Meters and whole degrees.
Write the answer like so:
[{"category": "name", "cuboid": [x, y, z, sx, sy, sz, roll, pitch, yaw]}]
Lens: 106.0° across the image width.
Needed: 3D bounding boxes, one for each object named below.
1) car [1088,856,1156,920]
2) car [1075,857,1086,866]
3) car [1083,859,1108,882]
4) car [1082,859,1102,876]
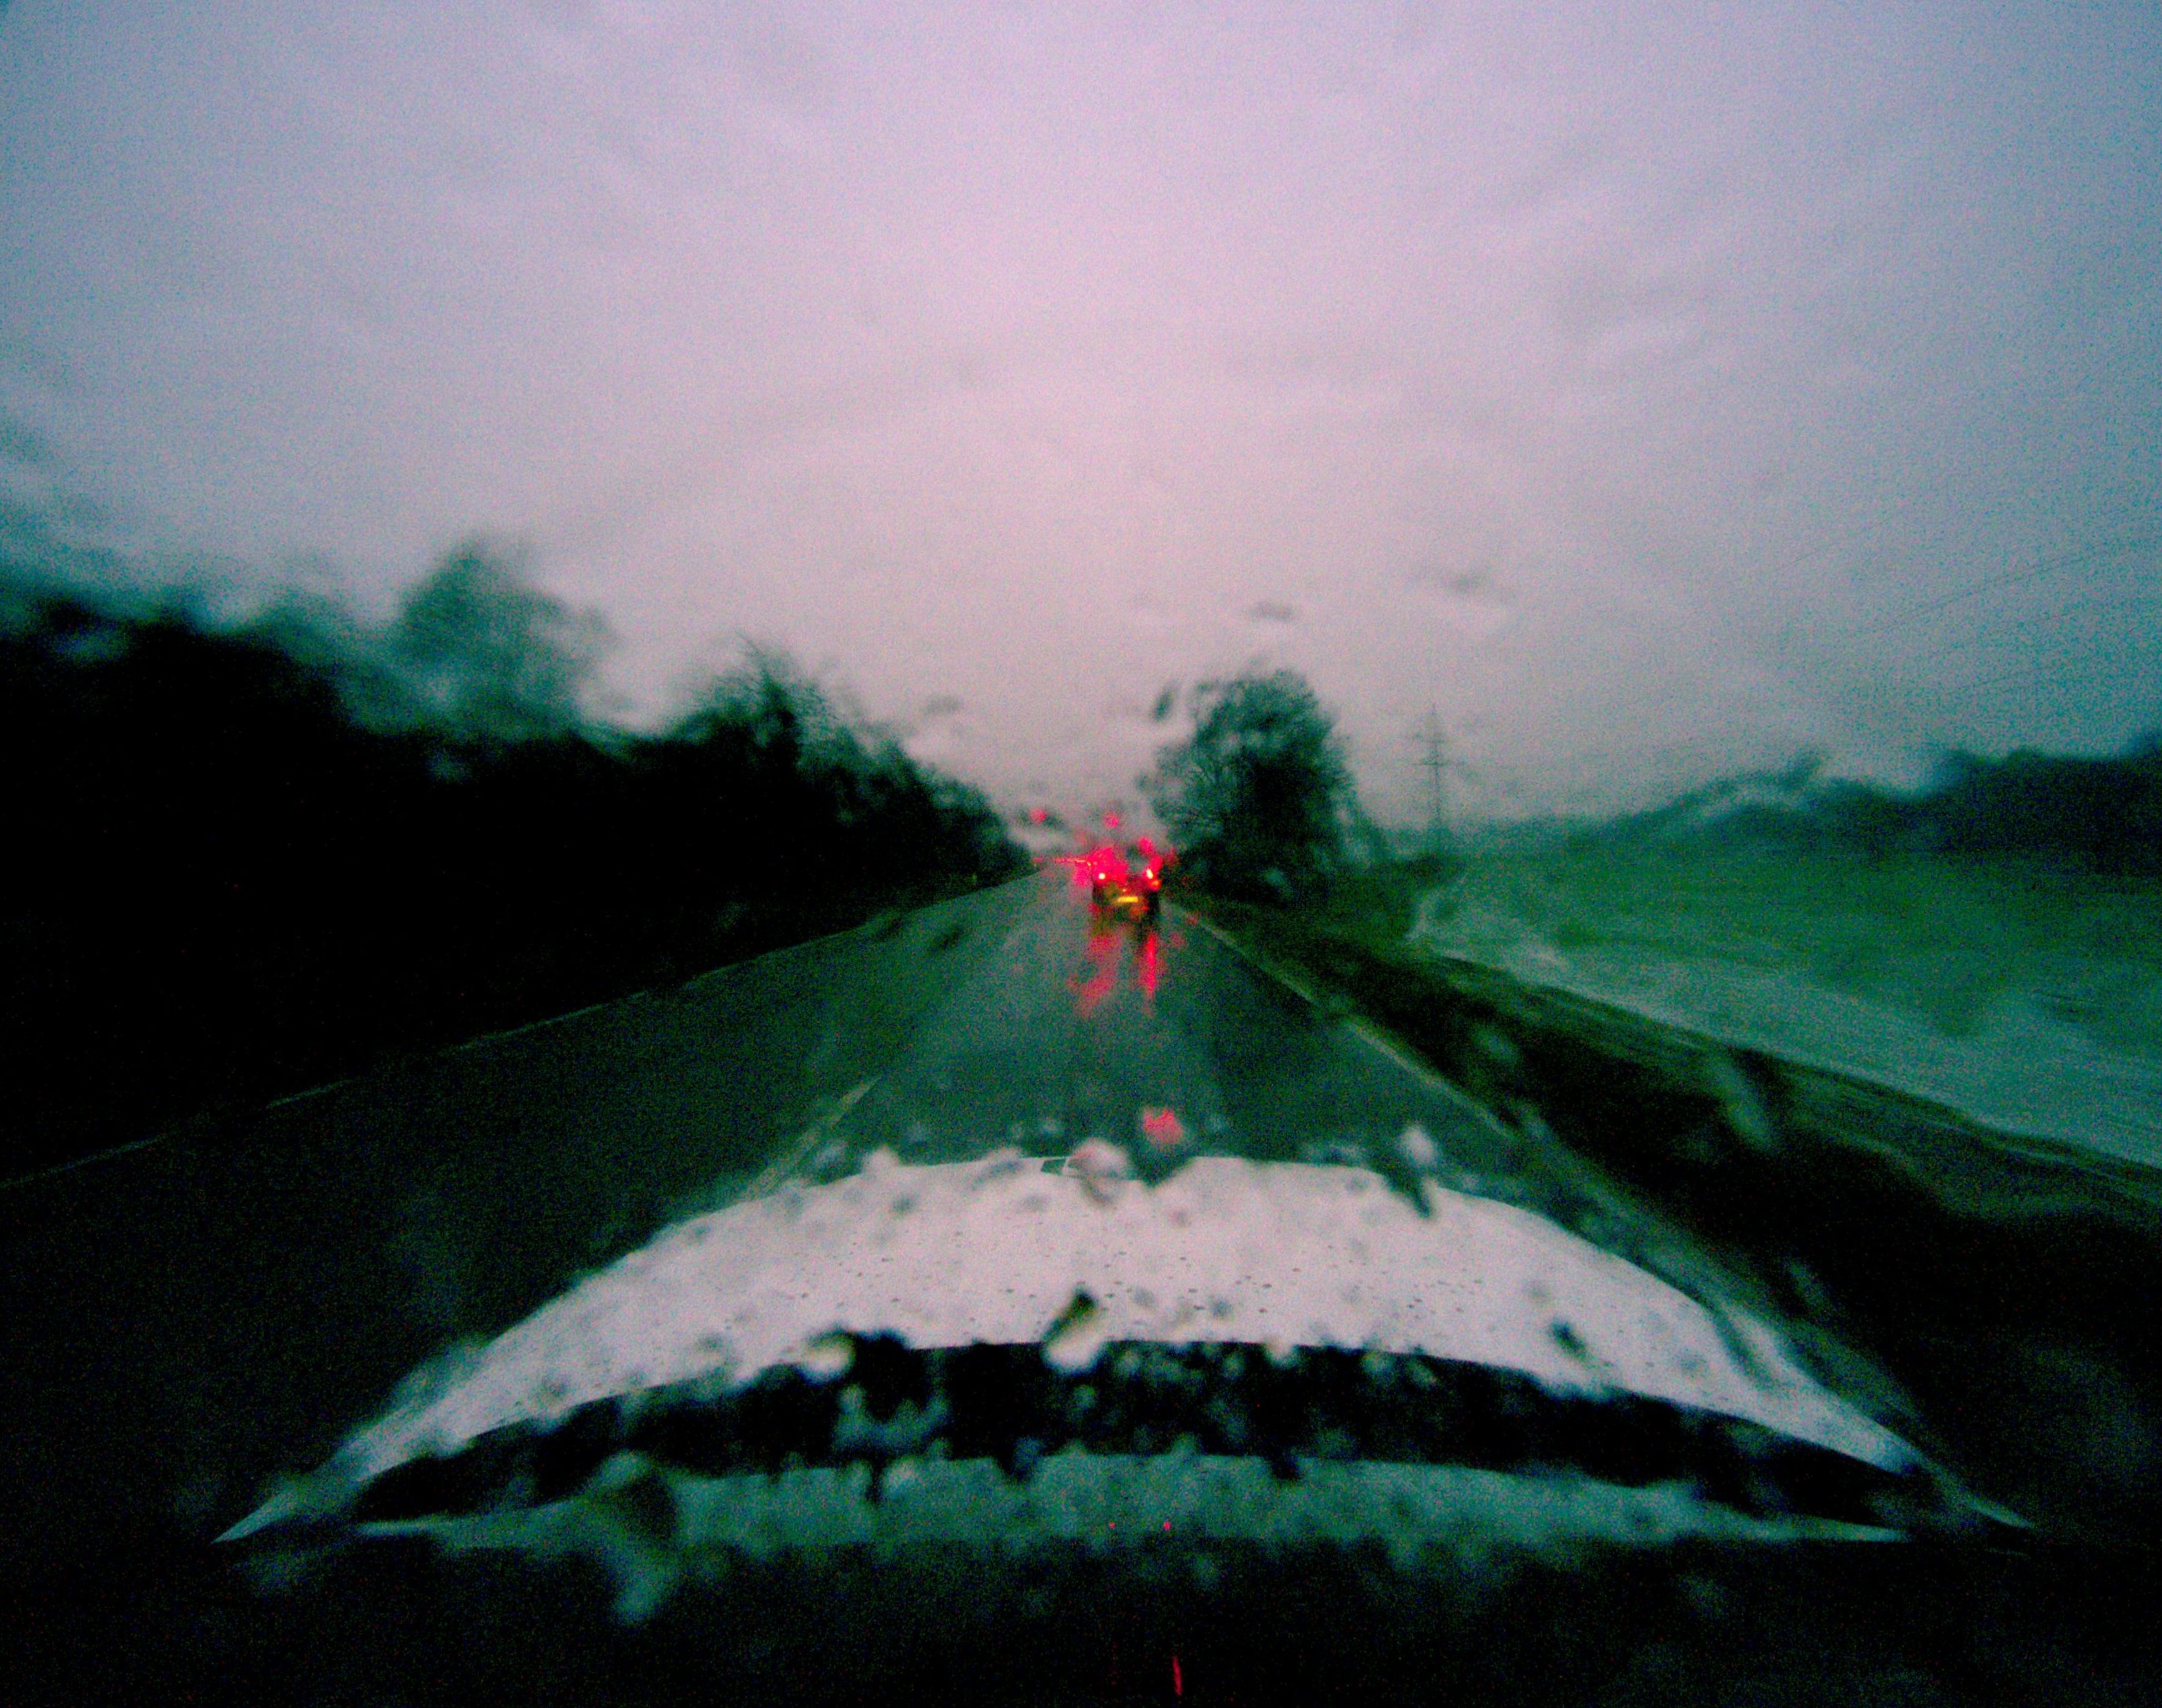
[{"category": "car", "cuboid": [1.146, 0.814, 21.428, 1.595, 1.522, 3.874, -1, 0, 5]}, {"category": "car", "cuboid": [-0.086, 1.286, 139.778, 1.540, 1.397, 3.872, -1, 0, 3]}, {"category": "car", "cuboid": [0.948, 1.028, 52.195, 1.541, 1.397, 3.871, -1, 0, 2]}, {"category": "car", "cuboid": [0.981, 1.184, 71.508, 1.540, 1.397, 3.873, -1, 0, 4]}]
